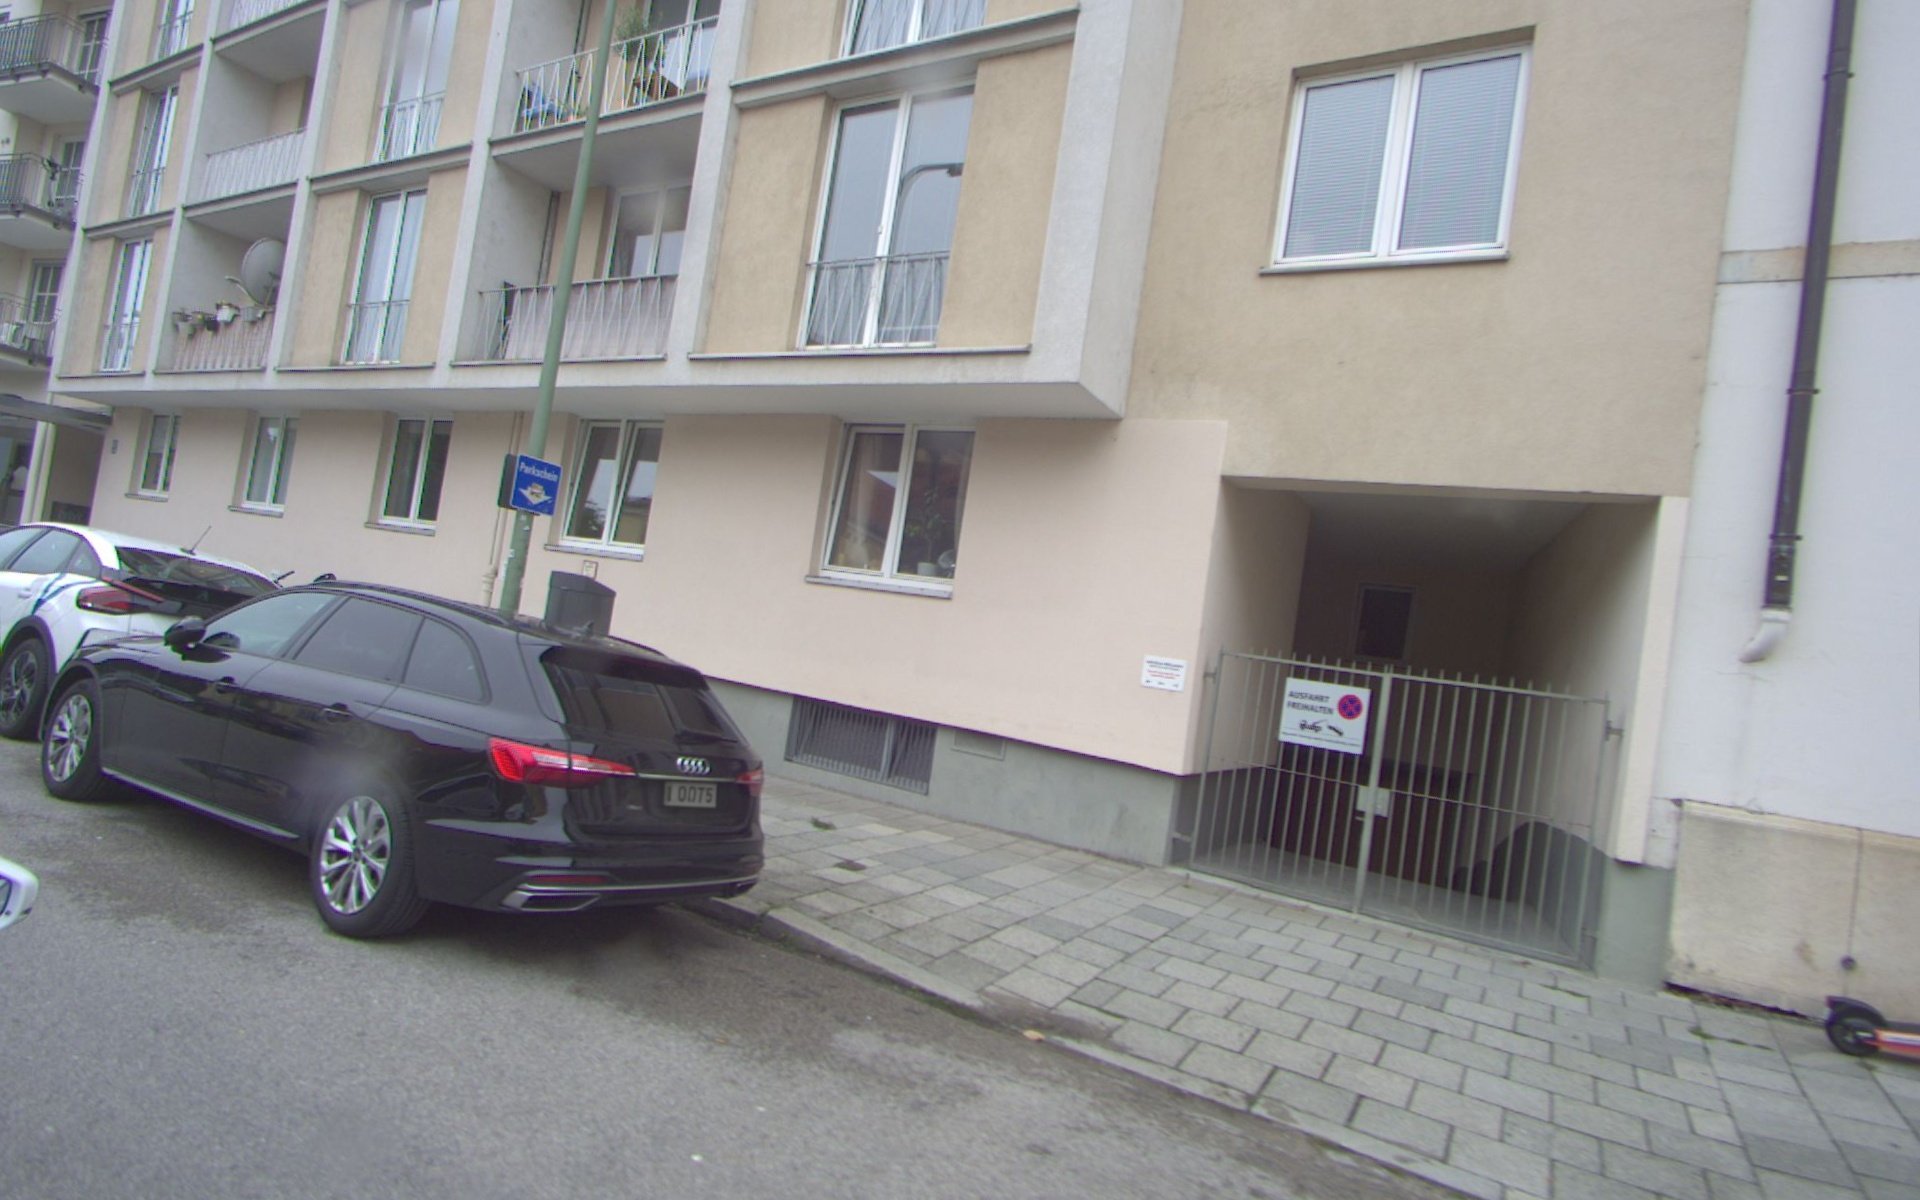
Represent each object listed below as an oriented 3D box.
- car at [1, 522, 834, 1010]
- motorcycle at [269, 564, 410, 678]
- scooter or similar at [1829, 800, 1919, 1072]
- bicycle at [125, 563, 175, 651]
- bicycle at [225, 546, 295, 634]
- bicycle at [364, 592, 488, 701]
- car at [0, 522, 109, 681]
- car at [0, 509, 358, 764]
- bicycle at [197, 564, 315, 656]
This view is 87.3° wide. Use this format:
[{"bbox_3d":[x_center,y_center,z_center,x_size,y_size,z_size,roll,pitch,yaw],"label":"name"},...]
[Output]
[{"bbox_3d":[-3.070,0.624,5.432,4.416,1.395,1.834,7,-5,32],"label":"car"},{"bbox_3d":[-8.470,0.270,13.709,2.006,1.286,0.637,7,-1,30],"label":"motorcycle"},{"bbox_3d":[5.380,1.814,5.222,1.077,1.289,0.731,8,-2,31],"label":"scooter or similar"},{"bbox_3d":[-12.497,0.090,15.507,0.395,1.217,1.547,5,1,-43],"label":"bicycle"},{"bbox_3d":[-10.695,-0.167,15.366,1.321,1.217,0.392,6,1,36],"label":"bicycle"},{"bbox_3d":[-6.807,0.585,12.804,1.574,1.170,0.514,7,-1,30],"label":"bicycle"},{"bbox_3d":[-11.356,-0.286,10.836,4.615,1.441,1.781,7,-7,31],"label":"car"},{"bbox_3d":[-7.072,0.185,8.202,4.049,1.481,1.711,7,-7,29],"label":"car"},{"bbox_3d":[-9.958,0.158,14.274,0.386,1.217,1.342,6,0,17],"label":"bicycle"}]
